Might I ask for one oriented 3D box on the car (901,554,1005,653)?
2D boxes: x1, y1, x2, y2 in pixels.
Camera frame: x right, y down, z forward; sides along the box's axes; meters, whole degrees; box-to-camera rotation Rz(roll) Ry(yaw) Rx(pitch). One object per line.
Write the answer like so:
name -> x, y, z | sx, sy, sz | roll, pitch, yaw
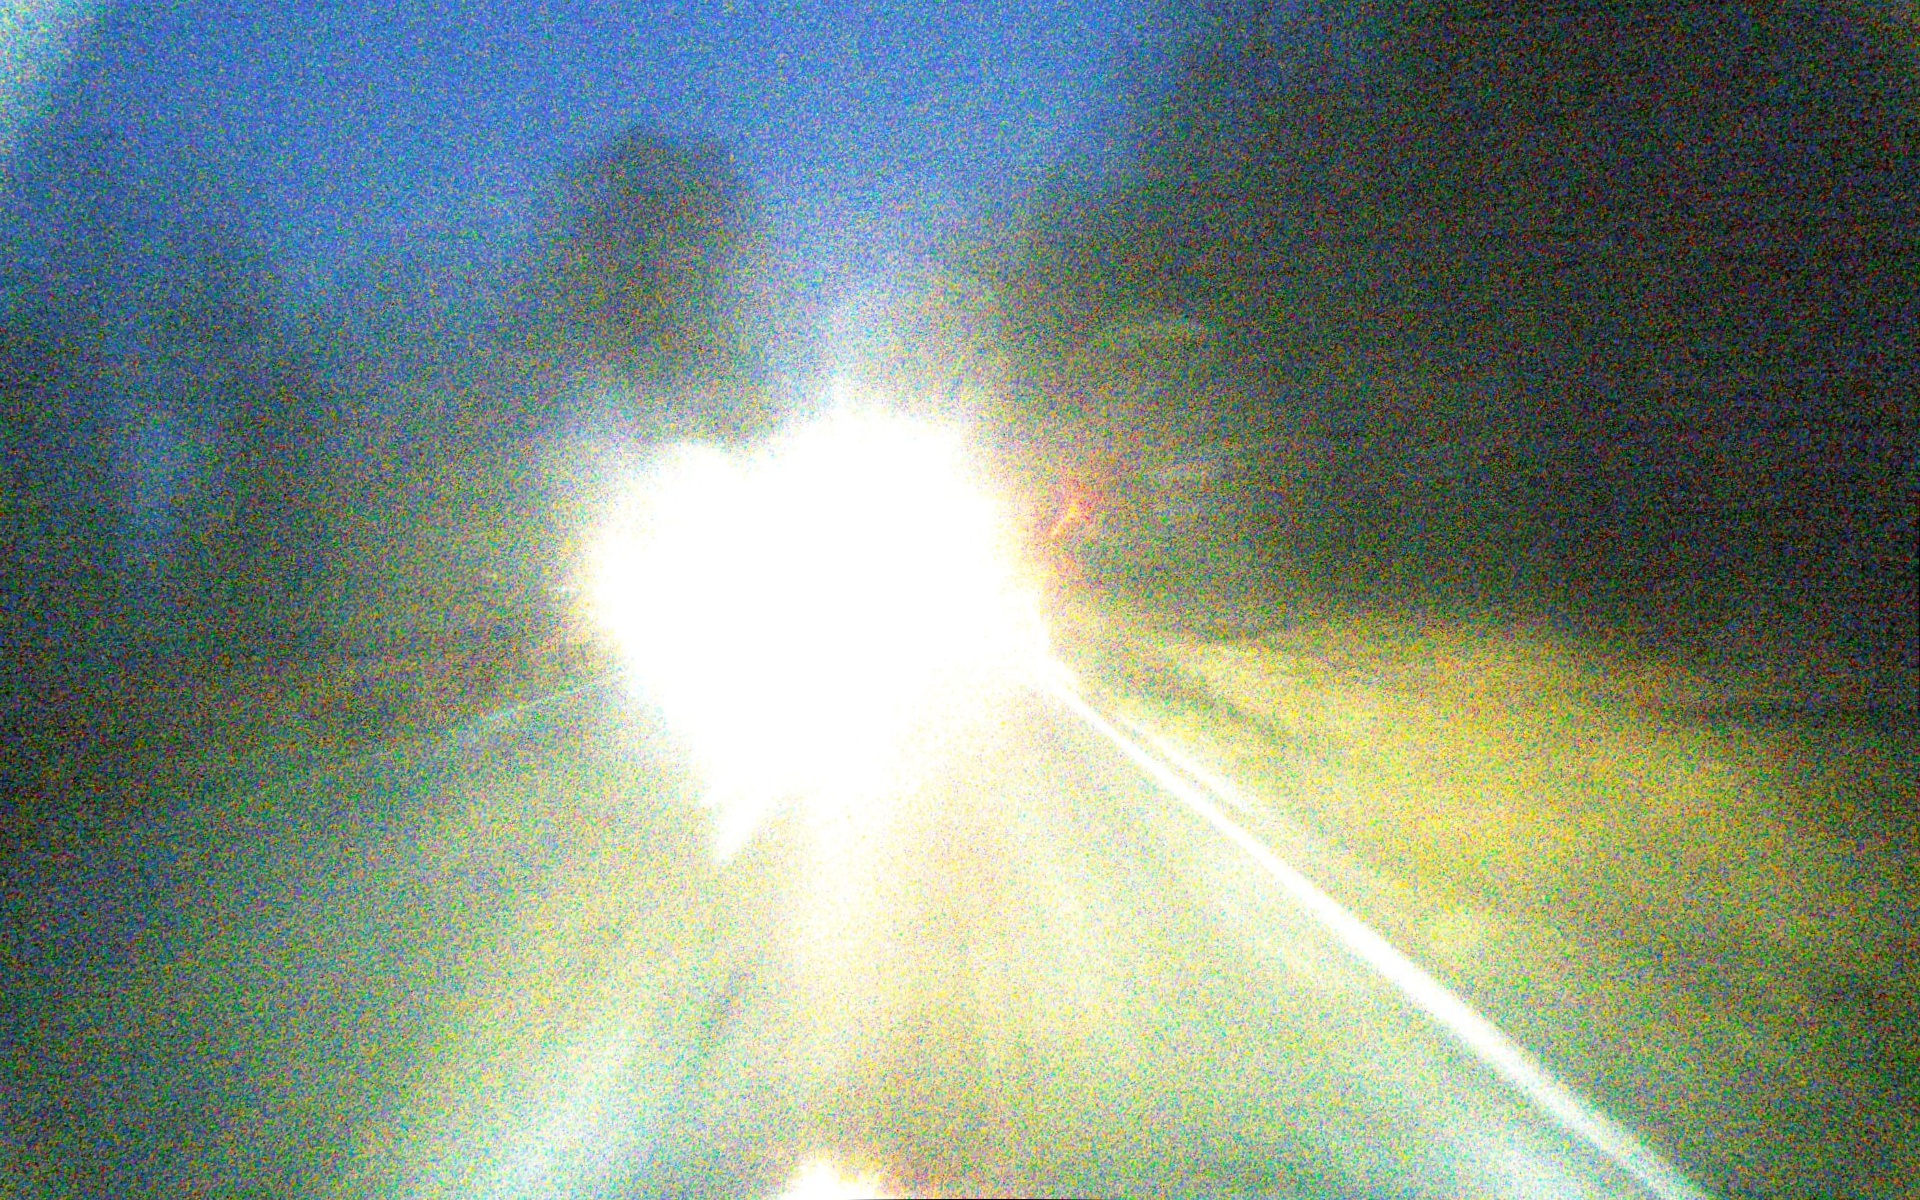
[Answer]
car -> -0.136, 0.015, 33.074 | 1.953, 1.838, 3.918 | 0, 2, 0
